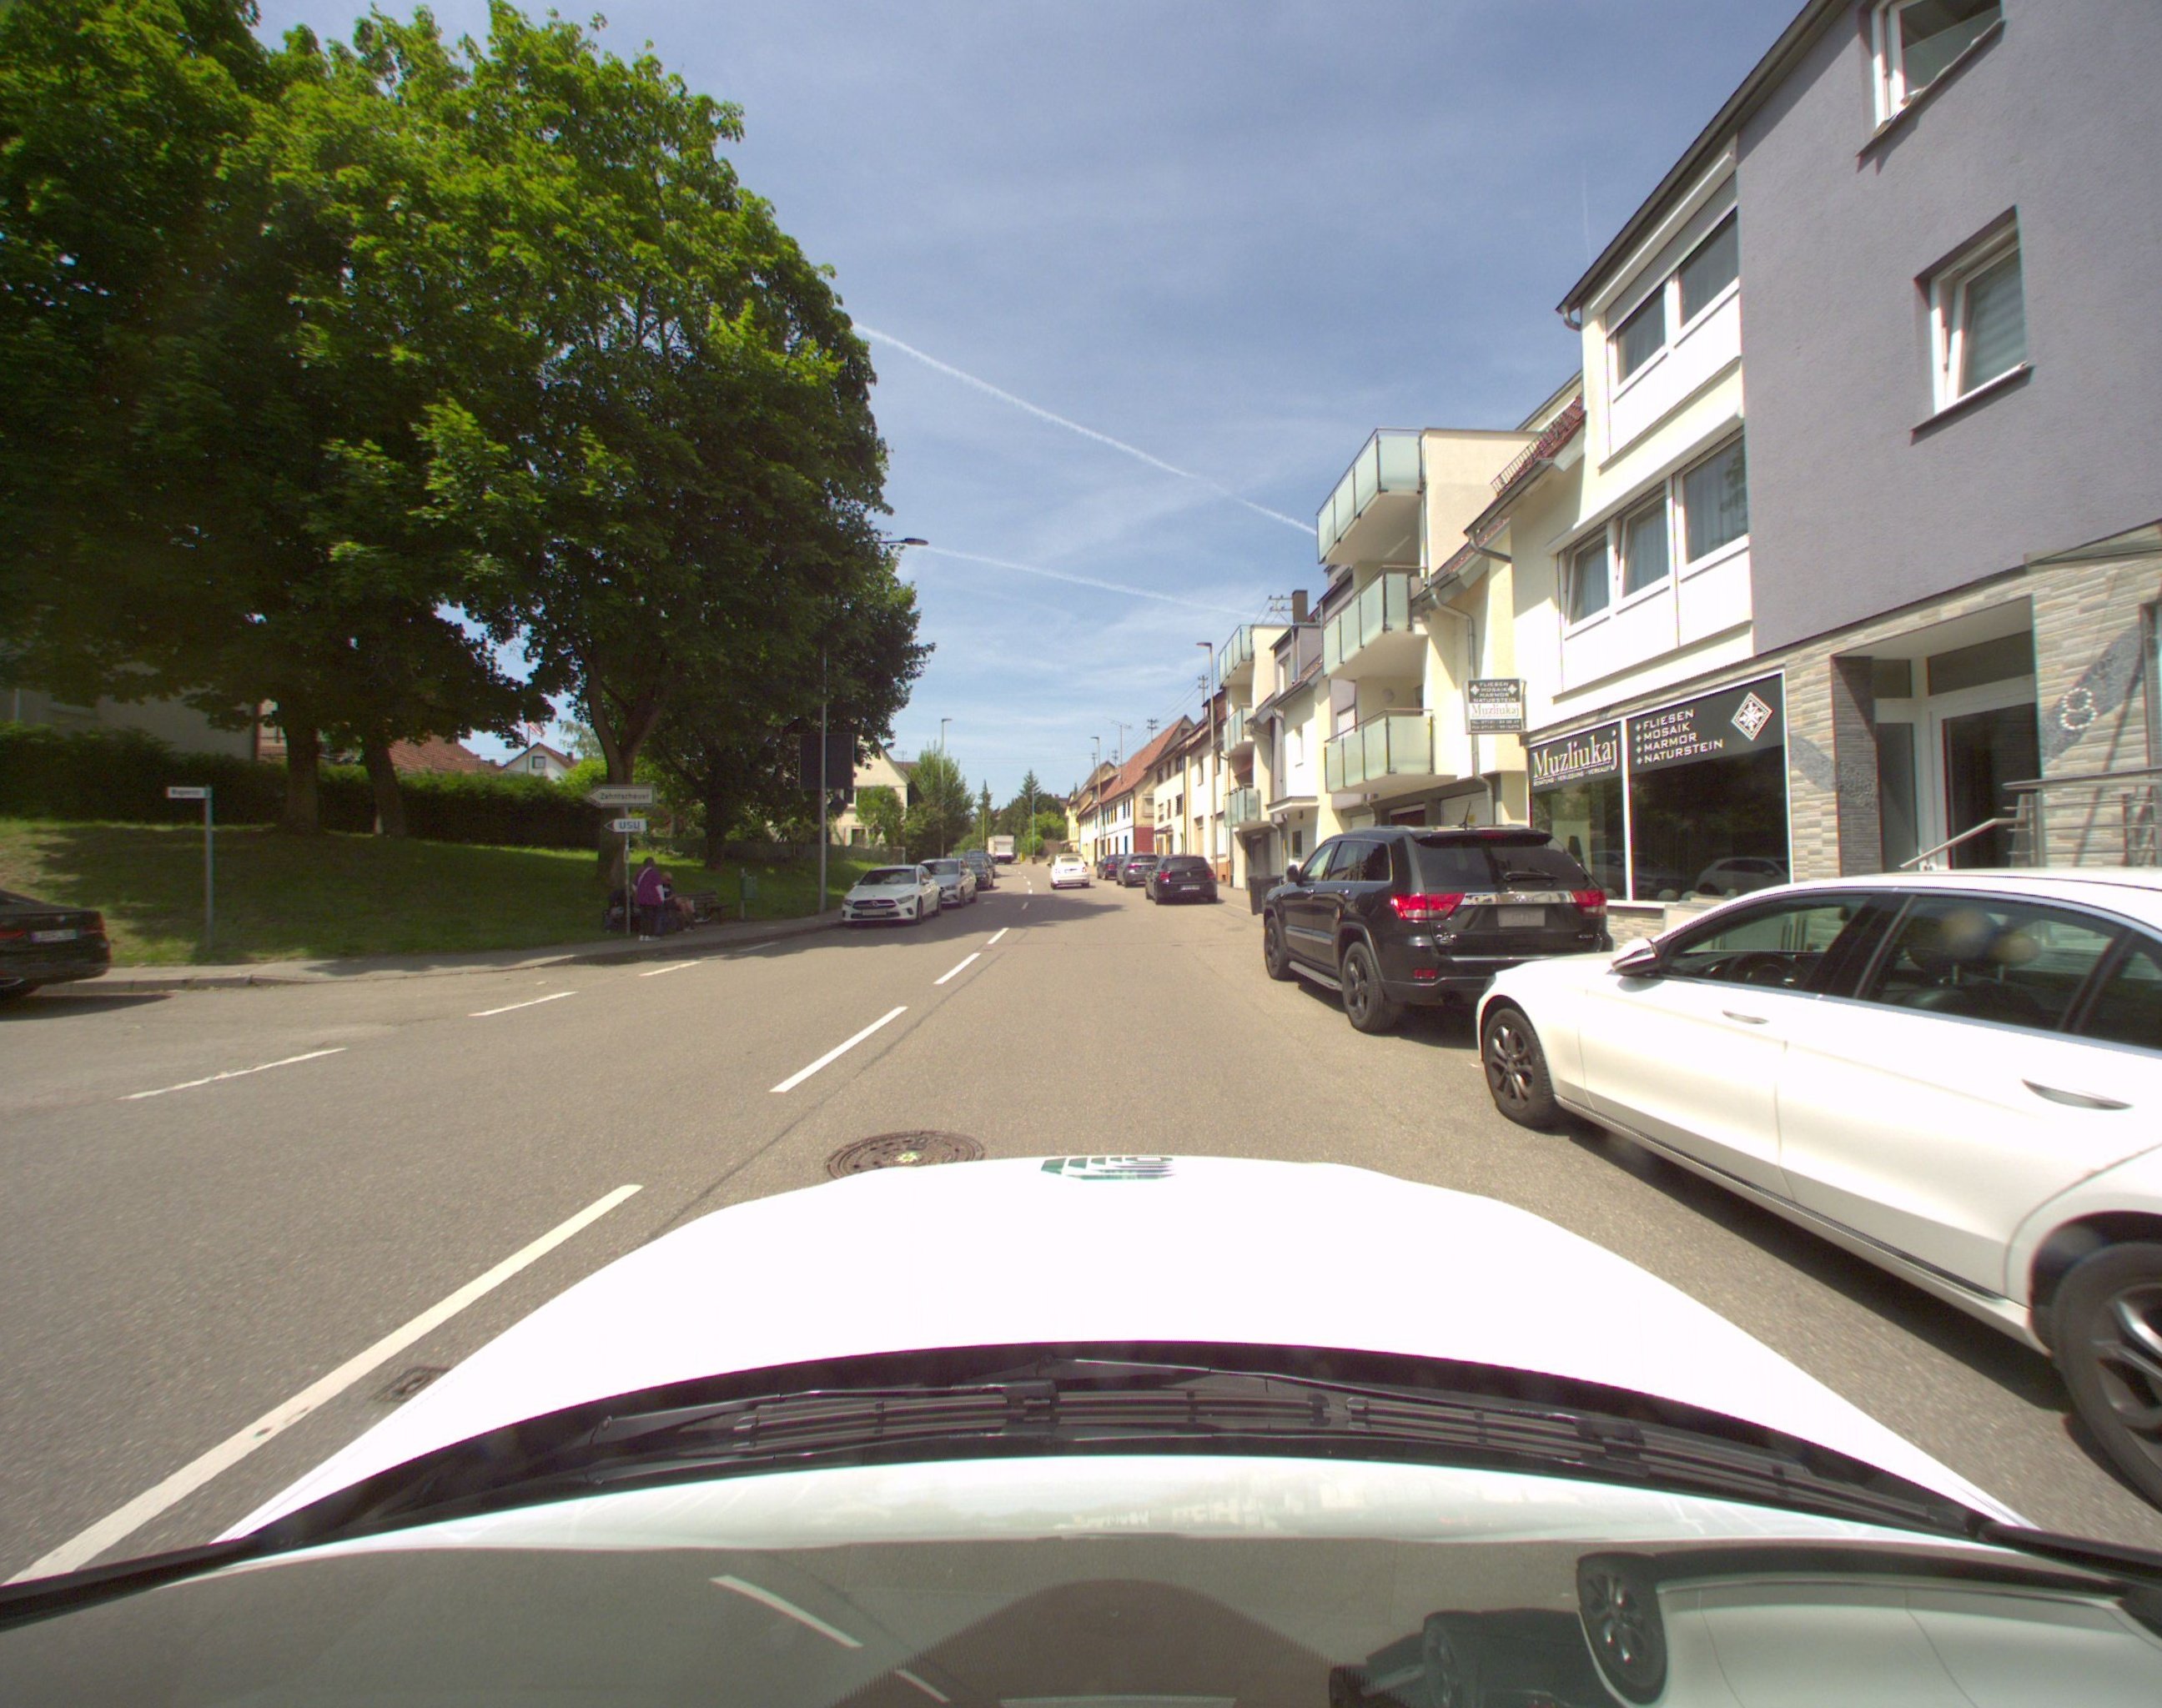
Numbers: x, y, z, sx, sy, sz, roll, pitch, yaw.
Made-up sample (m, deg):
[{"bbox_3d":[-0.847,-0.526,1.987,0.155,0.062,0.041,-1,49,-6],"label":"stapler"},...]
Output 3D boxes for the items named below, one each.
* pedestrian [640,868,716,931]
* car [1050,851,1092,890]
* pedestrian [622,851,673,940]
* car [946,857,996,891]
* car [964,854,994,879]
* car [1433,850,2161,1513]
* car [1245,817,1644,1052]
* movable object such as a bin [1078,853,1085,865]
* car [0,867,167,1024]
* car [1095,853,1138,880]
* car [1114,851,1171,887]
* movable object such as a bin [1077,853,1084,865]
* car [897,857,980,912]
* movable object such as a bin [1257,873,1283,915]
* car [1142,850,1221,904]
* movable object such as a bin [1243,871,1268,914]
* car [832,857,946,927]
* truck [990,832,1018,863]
[{"bbox_3d":[-8.384,0.941,16.986,1.231,1.269,0.647,1,-1,4],"label":"pedestrian"},{"bbox_3d":[-0.414,0.678,36.321,1.719,1.560,4.000,-3,0,0],"label":"car"},{"bbox_3d":[-8.063,0.756,15.177,0.732,1.616,0.625,0,-1,-20],"label":"pedestrian"},{"bbox_3d":[-5.077,0.886,38.069,1.800,1.423,4.923,-2,0,-2],"label":"car"},{"bbox_3d":[-6.487,0.769,51.950,1.787,1.463,4.700,-2,0,-7],"label":"car"},{"bbox_3d":[3.277,0.731,3.049,1.784,1.455,4.714,-1,0,-1],"label":"car"},{"bbox_3d":[3.210,0.592,8.466,1.948,1.716,4.714,-1,0,-1],"label":"car"},{"bbox_3d":[0.077,0.473,78.007,0.546,1.033,0.550,-4,1,-9],"label":"movable object such as a bin"},{"bbox_3d":[-13.187,0.846,8.236,4.788,1.479,1.988,3,-1,-18],"label":"car"},{"bbox_3d":[1.877,0.653,44.218,1.664,1.352,4.177,-1,0,-7],"label":"car"},{"bbox_3d":[2.603,0.608,35.409,1.790,1.403,4.405,-2,0,-4],"label":"car"},{"bbox_3d":[-0.054,0.483,75.968,0.546,1.033,0.550,-4,1,-9],"label":"movable object such as a bin"},{"bbox_3d":[-4.497,0.907,26.345,1.766,1.527,4.223,-3,0,1],"label":"car"},{"bbox_3d":[4.260,0.898,18.392,0.430,0.925,0.491,-3,0,-1],"label":"movable object such as a bin"},{"bbox_3d":[2.953,0.650,24.659,1.791,1.424,4.289,-2,0,0],"label":"car"},{"bbox_3d":[4.095,0.898,19.115,0.430,0.956,0.517,-3,0,-1],"label":"movable object such as a bin"},{"bbox_3d":[-4.676,0.856,20.475,1.749,1.467,4.362,-3,0,0],"label":"car"},{"bbox_3d":[-10.097,-0.733,106.001,3.068,3.774,7.842,-1,-1,-9],"label":"truck"}]
